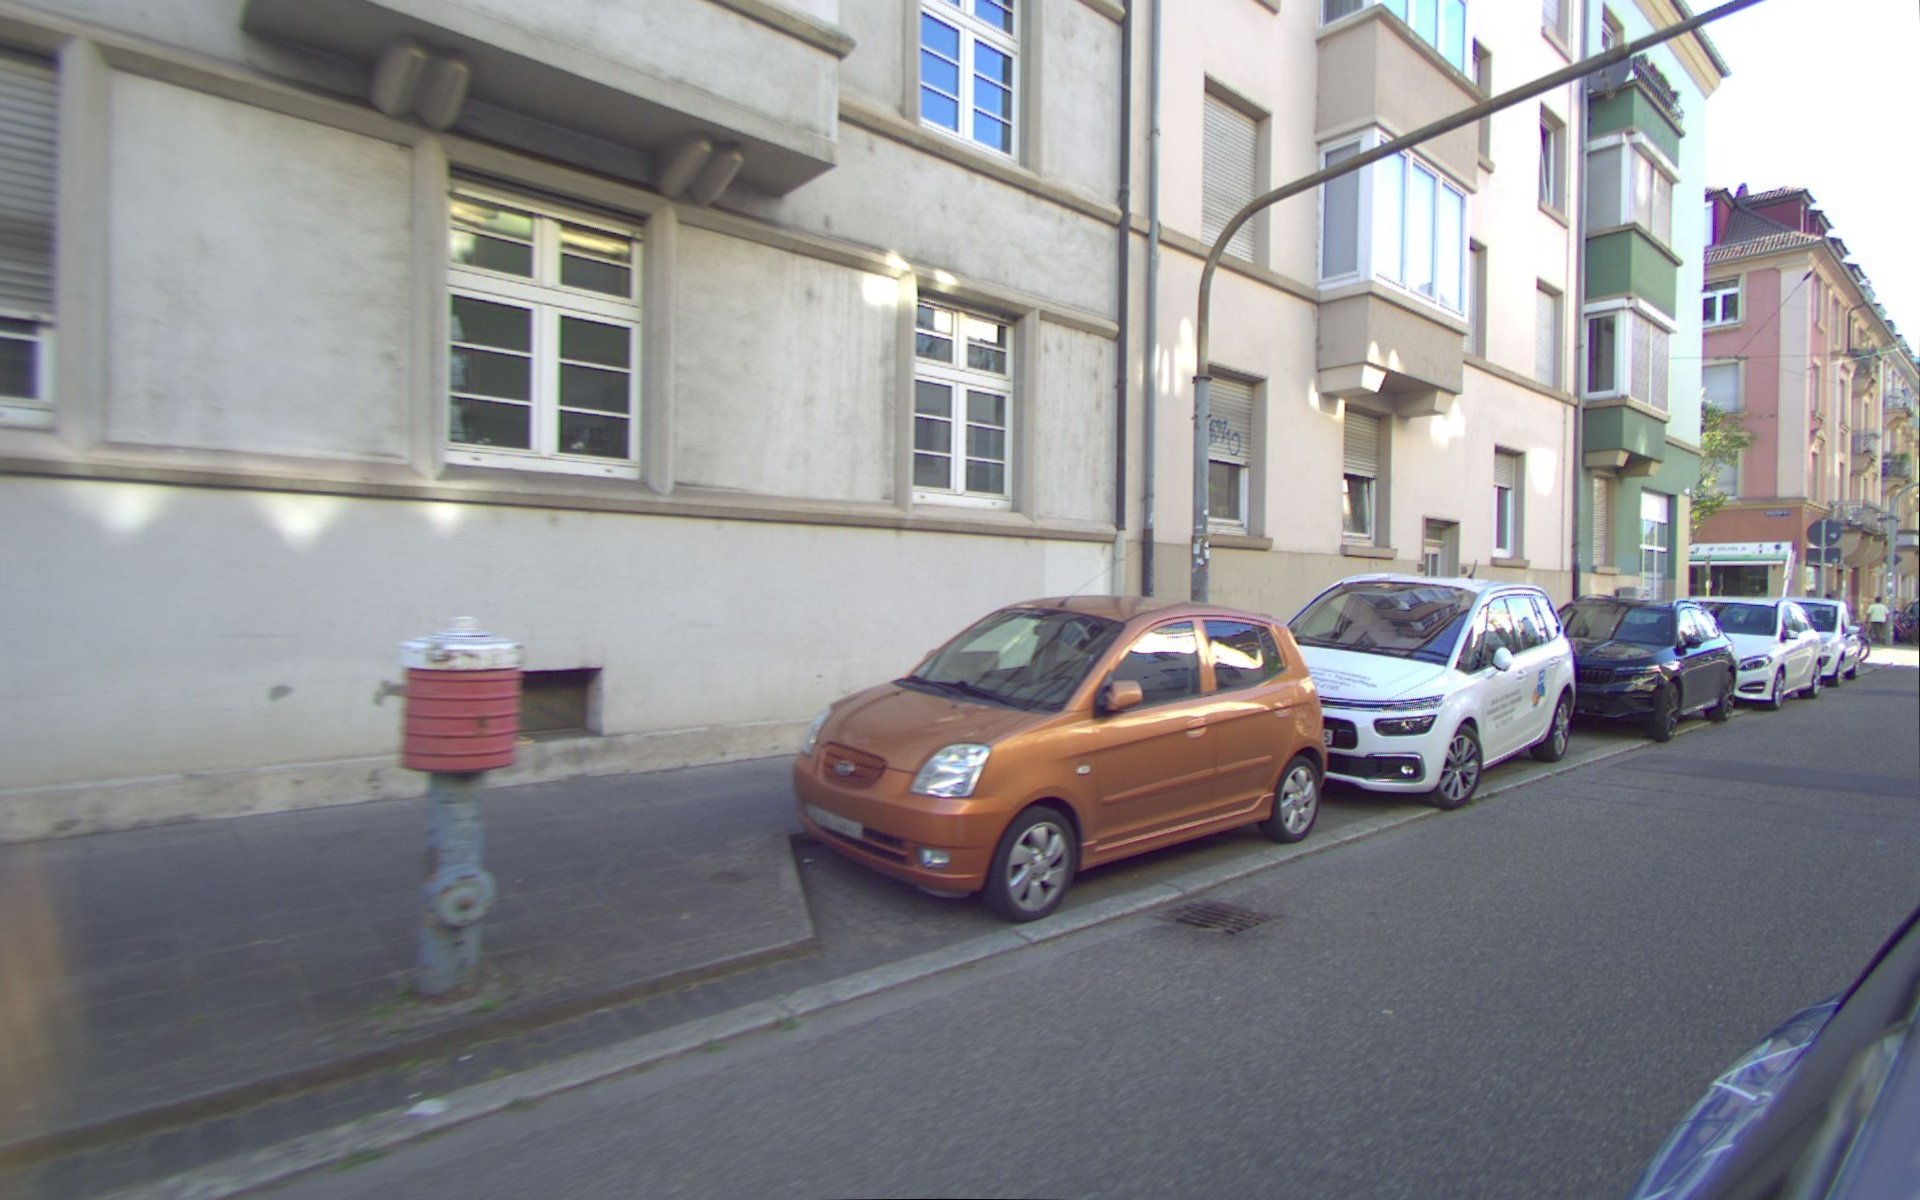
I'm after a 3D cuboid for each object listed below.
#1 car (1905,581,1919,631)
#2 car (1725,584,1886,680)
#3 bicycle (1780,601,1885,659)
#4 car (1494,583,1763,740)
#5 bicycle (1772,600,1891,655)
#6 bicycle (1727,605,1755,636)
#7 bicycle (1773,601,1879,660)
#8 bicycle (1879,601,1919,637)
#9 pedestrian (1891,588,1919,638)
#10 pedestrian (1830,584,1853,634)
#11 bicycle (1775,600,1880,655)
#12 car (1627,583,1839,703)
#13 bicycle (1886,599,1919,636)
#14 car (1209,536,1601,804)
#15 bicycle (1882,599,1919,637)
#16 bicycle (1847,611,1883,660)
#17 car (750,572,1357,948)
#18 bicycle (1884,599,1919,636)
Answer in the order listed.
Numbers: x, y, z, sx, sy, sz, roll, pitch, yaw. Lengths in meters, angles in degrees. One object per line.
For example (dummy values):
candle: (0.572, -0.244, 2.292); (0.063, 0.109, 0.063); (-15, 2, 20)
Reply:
car: (36.401, 0.267, 37.276); (4.427, 1.756, 1.757); (0, 4, -41)
car: (16.454, 0.545, 19.632); (3.930, 1.652, 1.787); (0, 1, -41)
bicycle: (20.192, 0.674, 23.461); (0.461, 1.168, 1.727); (1, 4, -40)
car: (8.308, 0.621, 12.429); (4.262, 1.586, 1.658); (0, 1, -41)
bicycle: (21.788, 0.658, 25.338); (0.833, 1.168, 2.092); (1, 3, -40)
bicycle: (27.595, 0.715, 35.730); (1.698, 1.062, 0.468); (0, 1, -42)
bicycle: (19.754, 0.667, 23.119); (0.461, 1.168, 1.727); (1, 4, -40)
bicycle: (32.534, 0.670, 34.320); (0.518, 1.175, 1.927); (0, 2, -40)
pedestrian: (31.602, 0.437, 33.775); (0.692, 1.654, 0.729); (-1, -1, -45)
pedestrian: (30.360, 0.296, 34.842); (0.440, 1.708, 0.514); (1, 0, -41)
bicycle: (21.297, 0.654, 24.874); (0.461, 1.168, 1.848); (1, 4, -40)
car: (12.065, 0.563, 15.700); (4.250, 1.595, 1.787); (0, 1, -41)
bicycle: (33.803, 0.631, 35.425); (0.518, 1.242, 1.963); (0, 2, -40)
car: (4.111, 0.432, 8.904); (1.655, 1.774, 4.529); (2, 1, 44)
bicycle: (32.985, 0.636, 34.669); (0.518, 1.242, 1.963); (0, 2, -40)
bicycle: (20.260, 0.780, 22.650); (1.697, 1.057, 0.353); (0, 1, -40)
car: (0.721, 0.659, 6.056); (3.537, 1.580, 1.618); (0, 1, -41)
bicycle: (33.386, 0.633, 35.048); (0.518, 1.242, 1.963); (0, 2, -40)
